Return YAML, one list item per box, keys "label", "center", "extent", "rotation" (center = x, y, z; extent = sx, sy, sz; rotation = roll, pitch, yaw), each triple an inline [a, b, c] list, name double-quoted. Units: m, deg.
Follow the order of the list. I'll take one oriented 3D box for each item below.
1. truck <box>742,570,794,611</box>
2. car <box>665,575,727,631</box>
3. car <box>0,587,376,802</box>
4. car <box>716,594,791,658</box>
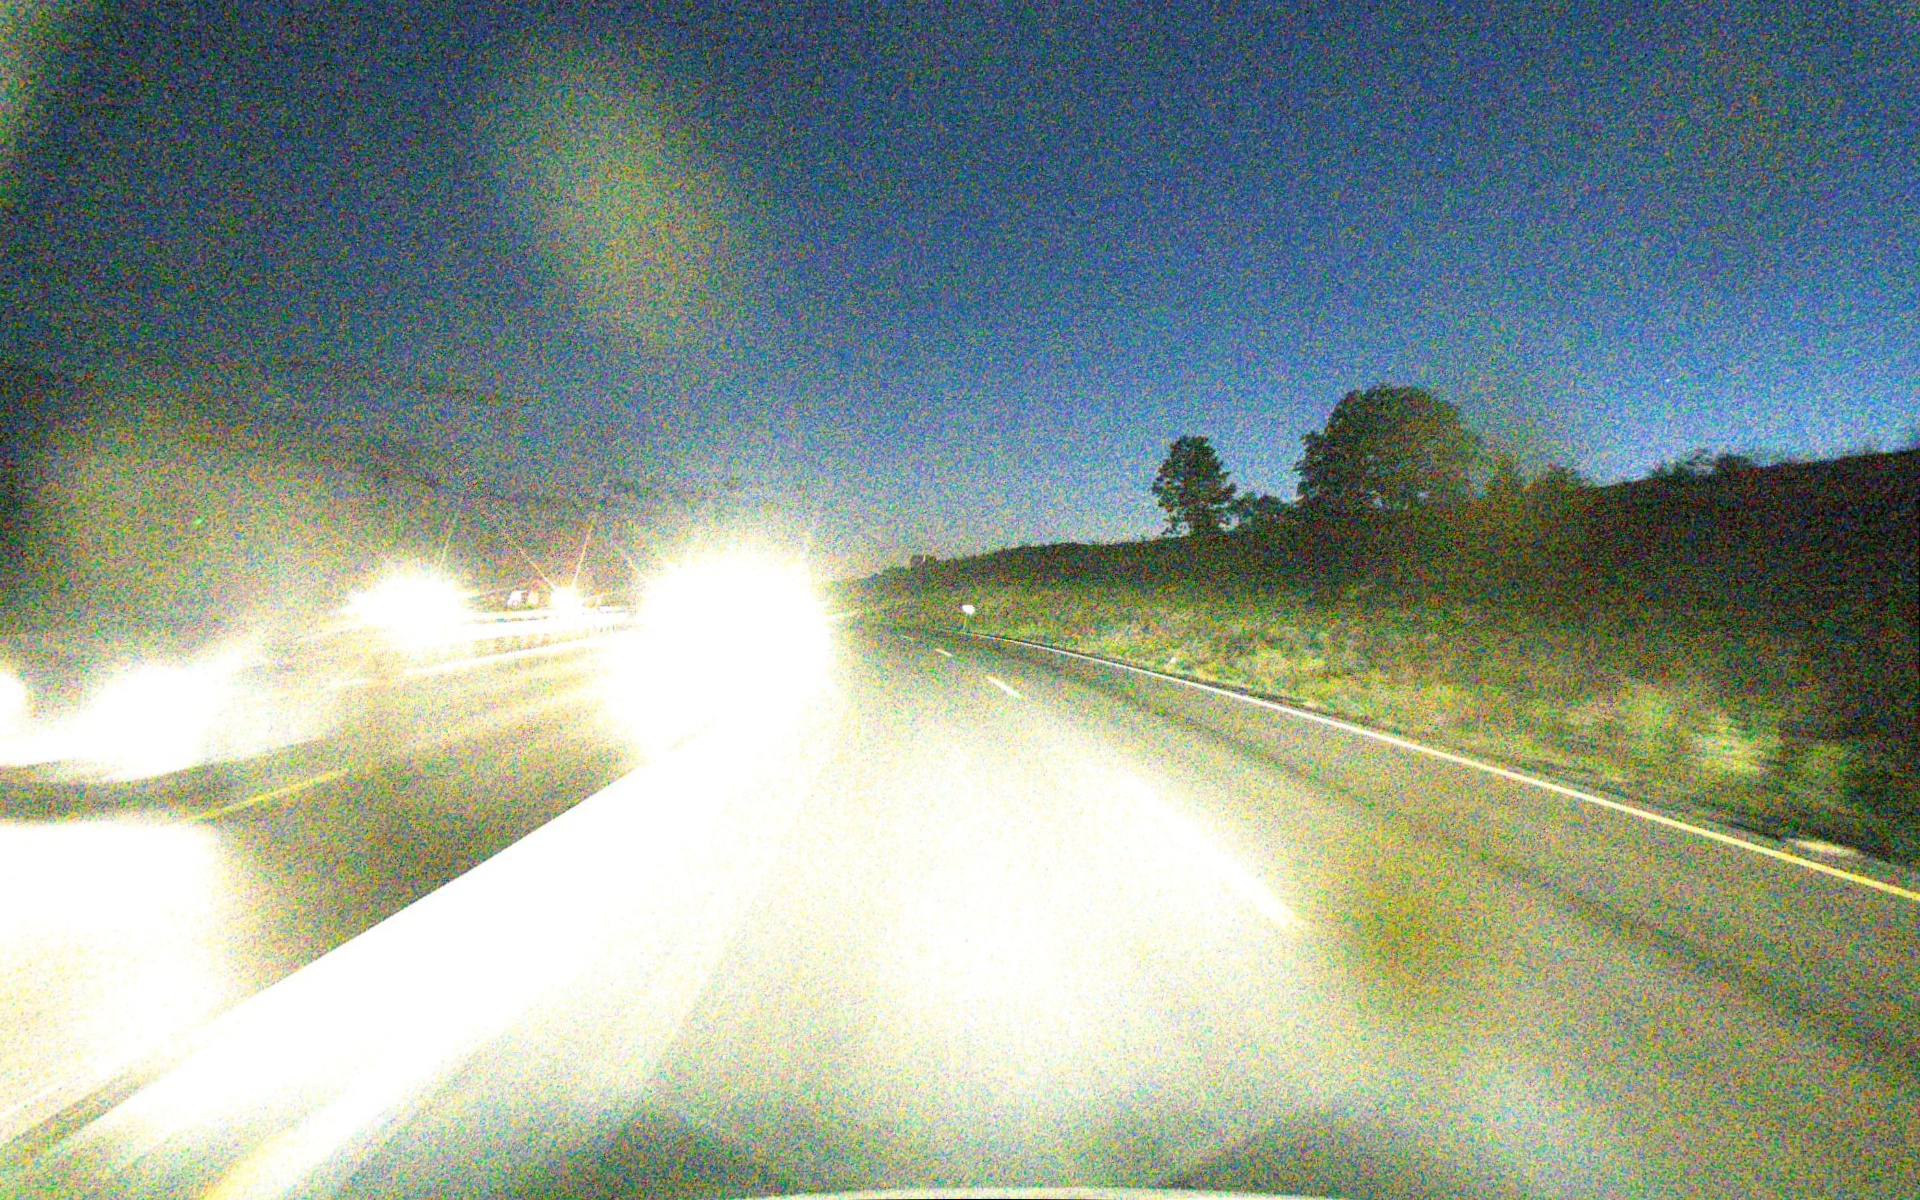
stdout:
- label: "truck"
  center: [-23.478, -1.078, 201.125]
  extent: [3.948, 4.631, 13.888]
  rotation: [-1, -1, -17]
- label: "car"
  center: [-10.216, 0.145, 64.325]
  extent: [1.955, 2.049, 5.581]
  rotation: [-1, -1, -5]
- label: "car"
  center: [-6.149, 0.643, 13.022]
  extent: [1.682, 1.404, 4.242]
  rotation: [1, -1, -2]
- label: "car"
  center: [-5.032, 0.625, 40.622]
  extent: [1.619, 1.495, 3.996]
  rotation: [-1, -1, -4]
